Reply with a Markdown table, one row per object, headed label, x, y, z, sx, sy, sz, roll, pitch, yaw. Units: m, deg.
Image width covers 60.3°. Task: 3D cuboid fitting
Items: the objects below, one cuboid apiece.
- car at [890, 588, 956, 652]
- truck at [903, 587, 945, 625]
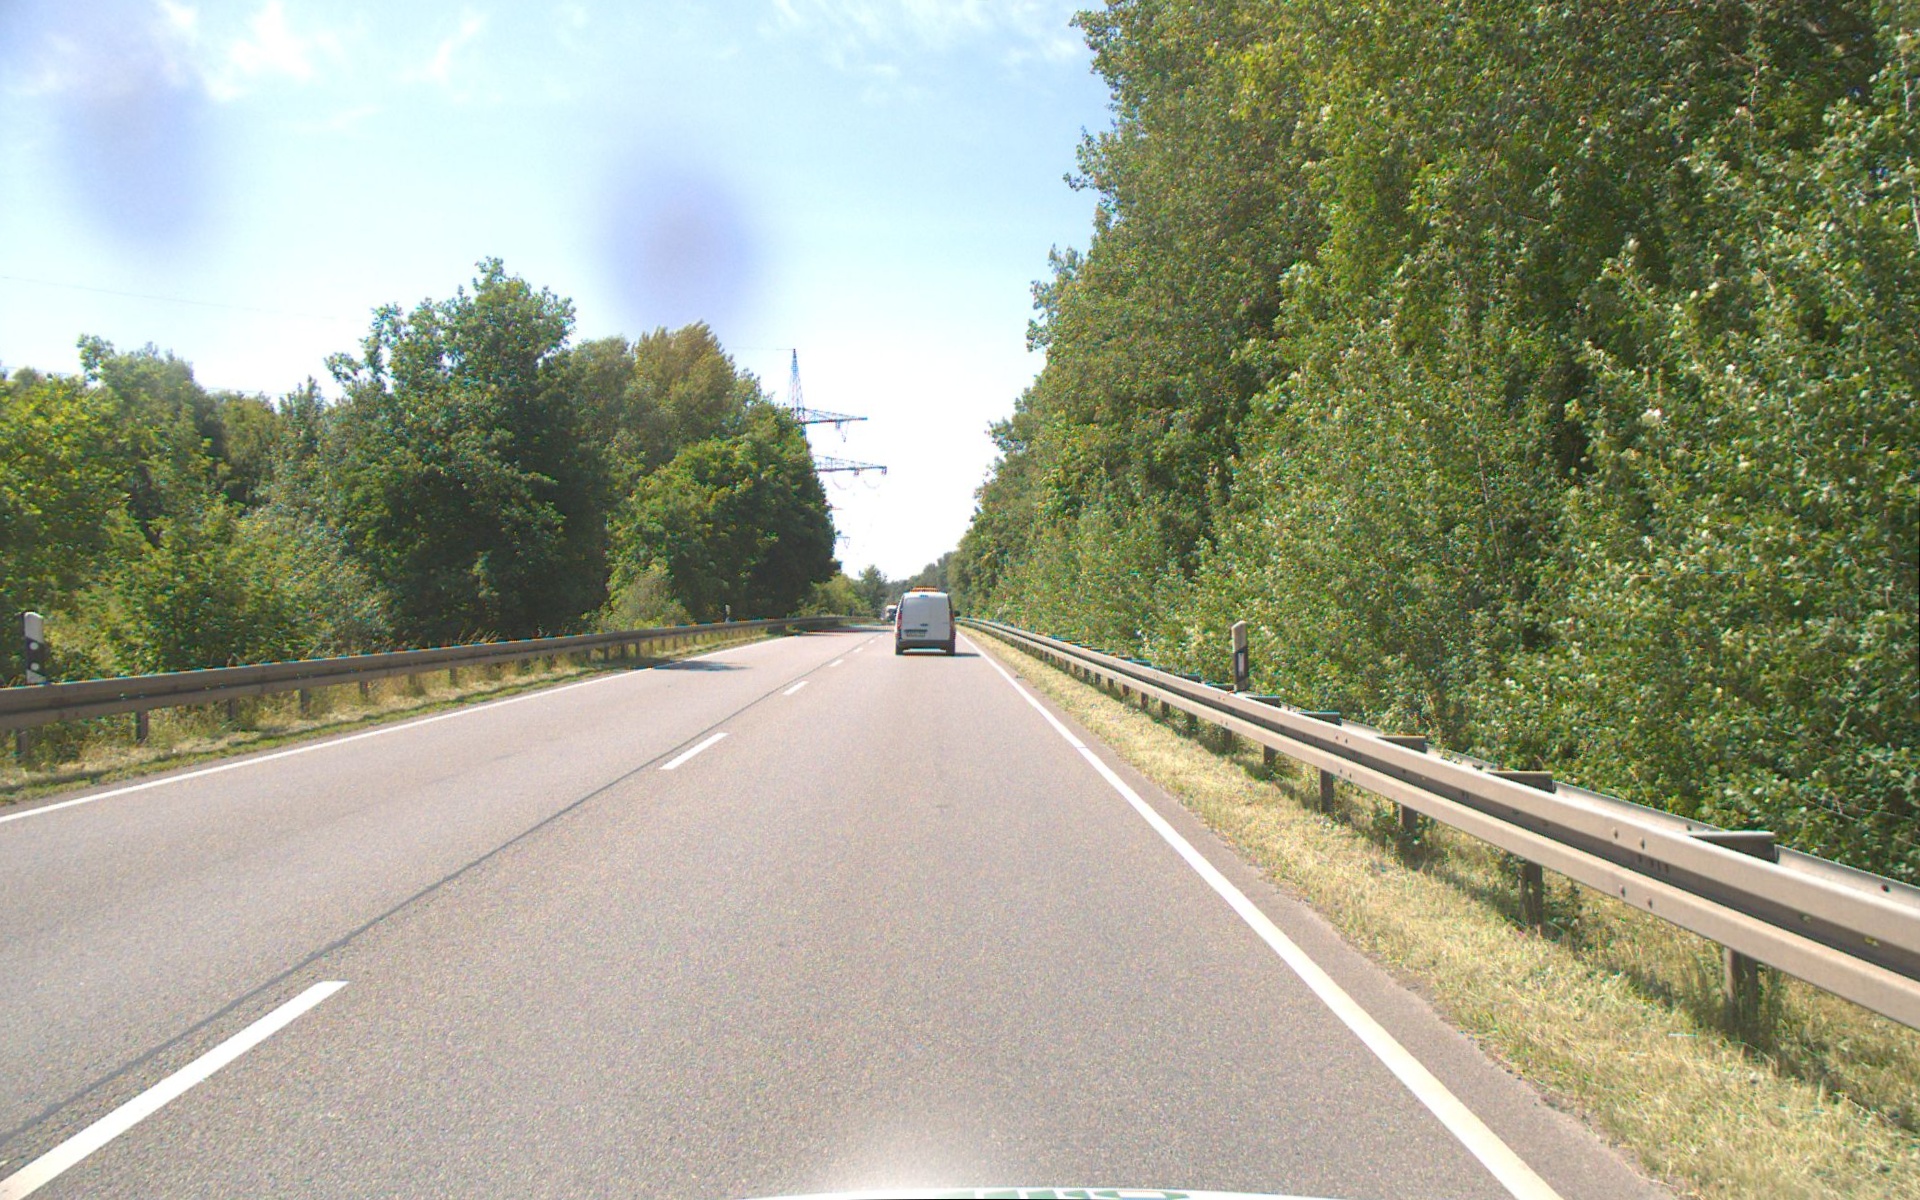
| label | x | y | z | sx | sy | sz | roll | pitch | yaw |
| --- | --- | --- | --- | --- | --- | --- | --- | --- | --- |
| car | -1.092 | 0.561 | 48.529 | 1.837 | 1.772 | 3.999 | 1 | 0 | -1 |
| truck | -3.080 | 0.473 | 147.067 | 3.229 | 3.227 | 14.405 | 1 | 0 | 1 |
